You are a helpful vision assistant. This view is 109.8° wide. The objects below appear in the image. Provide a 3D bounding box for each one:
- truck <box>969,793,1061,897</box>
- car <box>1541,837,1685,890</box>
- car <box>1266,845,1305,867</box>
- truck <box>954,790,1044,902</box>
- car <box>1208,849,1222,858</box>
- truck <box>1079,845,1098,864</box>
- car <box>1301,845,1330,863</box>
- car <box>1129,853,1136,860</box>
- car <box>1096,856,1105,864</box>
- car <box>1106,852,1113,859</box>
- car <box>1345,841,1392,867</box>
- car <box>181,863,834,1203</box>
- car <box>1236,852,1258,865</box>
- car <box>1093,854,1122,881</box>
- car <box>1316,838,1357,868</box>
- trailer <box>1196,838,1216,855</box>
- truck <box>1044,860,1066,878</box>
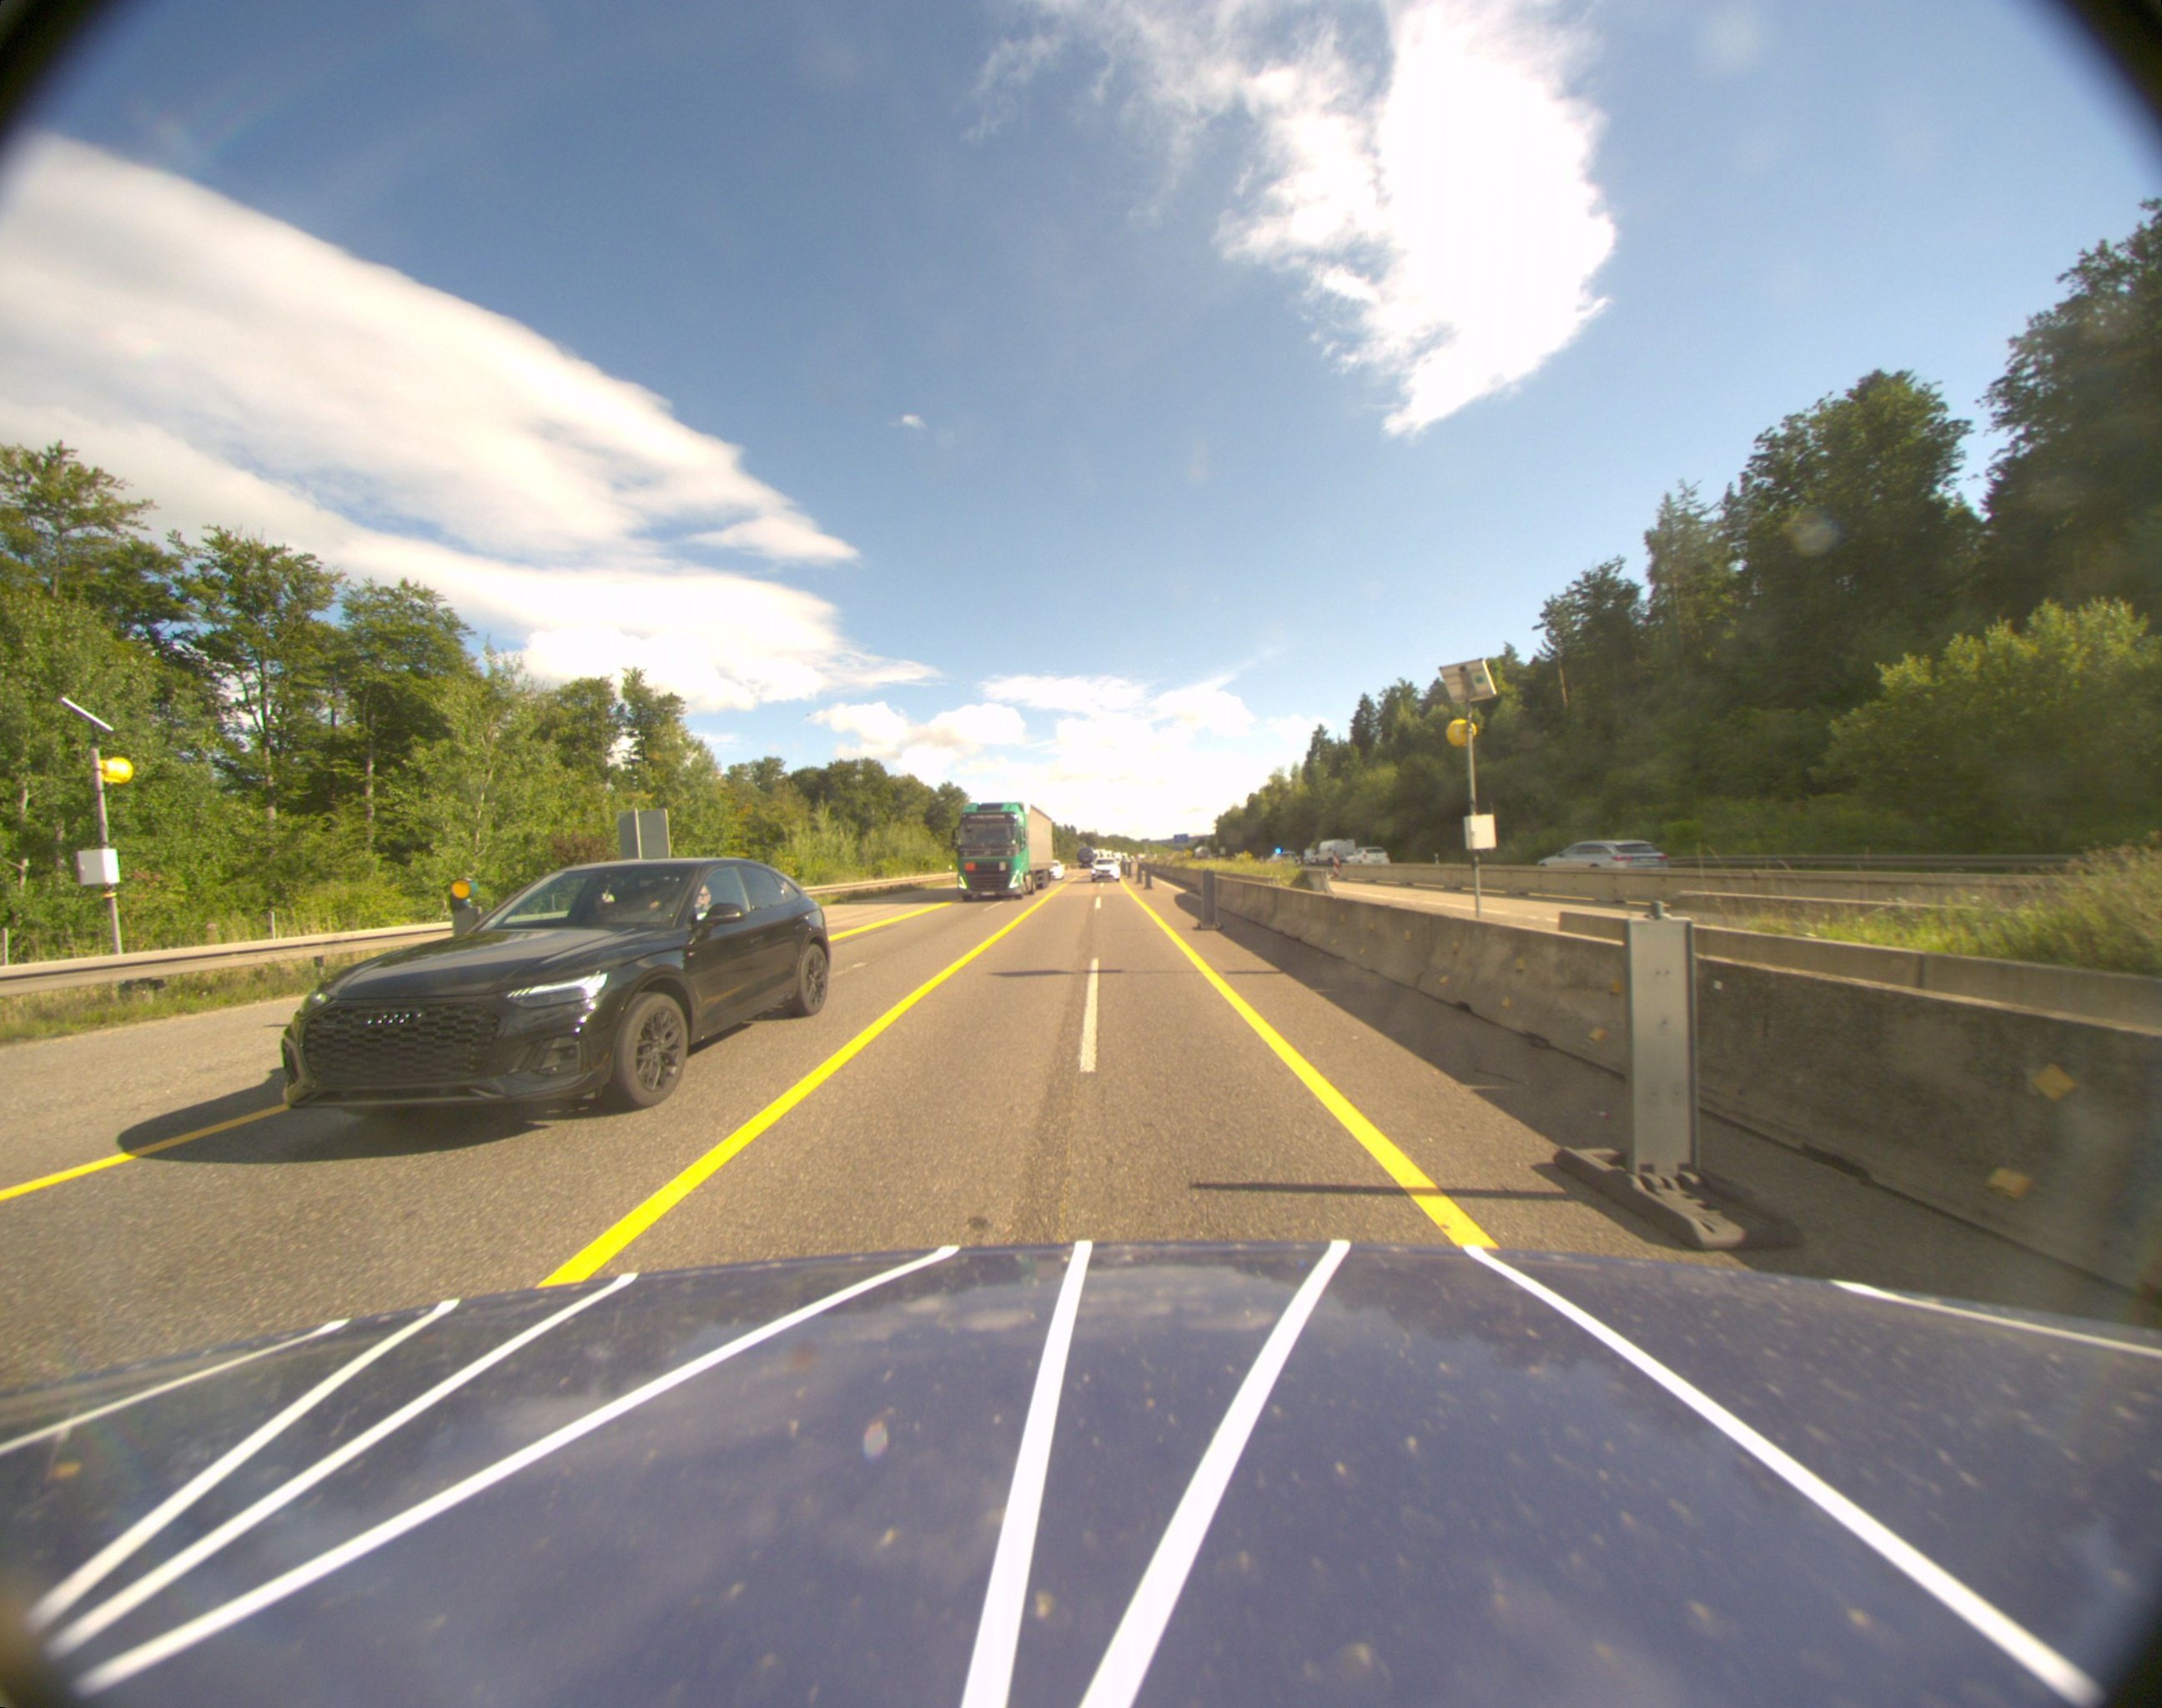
[{"bbox_3d":[-2.860,-0.309,37.947,2.470,4.119,14.214,-2,0,3],"label":"truck"},{"bbox_3d":[17.911,0.283,25.899,1.782,1.593,4.677,-2,0,3],"label":"car"},{"bbox_3d":[16.073,0.165,59.916,1.782,1.593,4.676,-2,0,0],"label":"car"},{"bbox_3d":[-3.216,-0.329,31.703,2.527,4.075,6.857,-2,0,3],"label":"truck"},{"bbox_3d":[23.691,-0.119,134.327,1.782,1.593,4.018,-2,0,3],"label":"car"},{"bbox_3d":[1.347,-0.001,133.507,2.576,3.167,6.804,-2,0,5],"label":"truck"},{"bbox_3d":[25.434,-0.009,82.685,1.865,1.843,4.762,-2,0,3],"label":"car"},{"bbox_3d":[16.580,0.797,245.605,1.998,2.002,4.001,-2,0,5],"label":"car"},{"bbox_3d":[4.223,1.283,164.502,1.750,1.787,4.000,-2,0,3],"label":"car"},{"bbox_3d":[8.312,0.475,221.362,1.750,1.787,4.000,-2,0,3],"label":"car"},{"bbox_3d":[19.123,-0.011,50.671,1.782,1.593,4.018,-2,0,3],"label":"car"},{"bbox_3d":[-3.599,0.938,5.991,1.782,1.593,4.294,-2,0,1],"label":"car"},{"bbox_3d":[21.632,0.613,99.202,1.963,1.579,4.482,-2,0,2],"label":"car"},{"bbox_3d":[1.749,0.842,49.224,1.782,1.593,4.018,-2,0,3],"label":"car"},{"bbox_3d":[24.289,-0.127,72.513,2.032,2.669,6.524,-2,0,3],"label":"car"},{"bbox_3d":[27.129,-1.581,165.153,2.808,3.469,11.114,-2,0,3],"label":"trailer"},{"bbox_3d":[-1.933,1.096,57.291,1.467,1.215,3.088,-2,0,1],"label":"truck"}]
